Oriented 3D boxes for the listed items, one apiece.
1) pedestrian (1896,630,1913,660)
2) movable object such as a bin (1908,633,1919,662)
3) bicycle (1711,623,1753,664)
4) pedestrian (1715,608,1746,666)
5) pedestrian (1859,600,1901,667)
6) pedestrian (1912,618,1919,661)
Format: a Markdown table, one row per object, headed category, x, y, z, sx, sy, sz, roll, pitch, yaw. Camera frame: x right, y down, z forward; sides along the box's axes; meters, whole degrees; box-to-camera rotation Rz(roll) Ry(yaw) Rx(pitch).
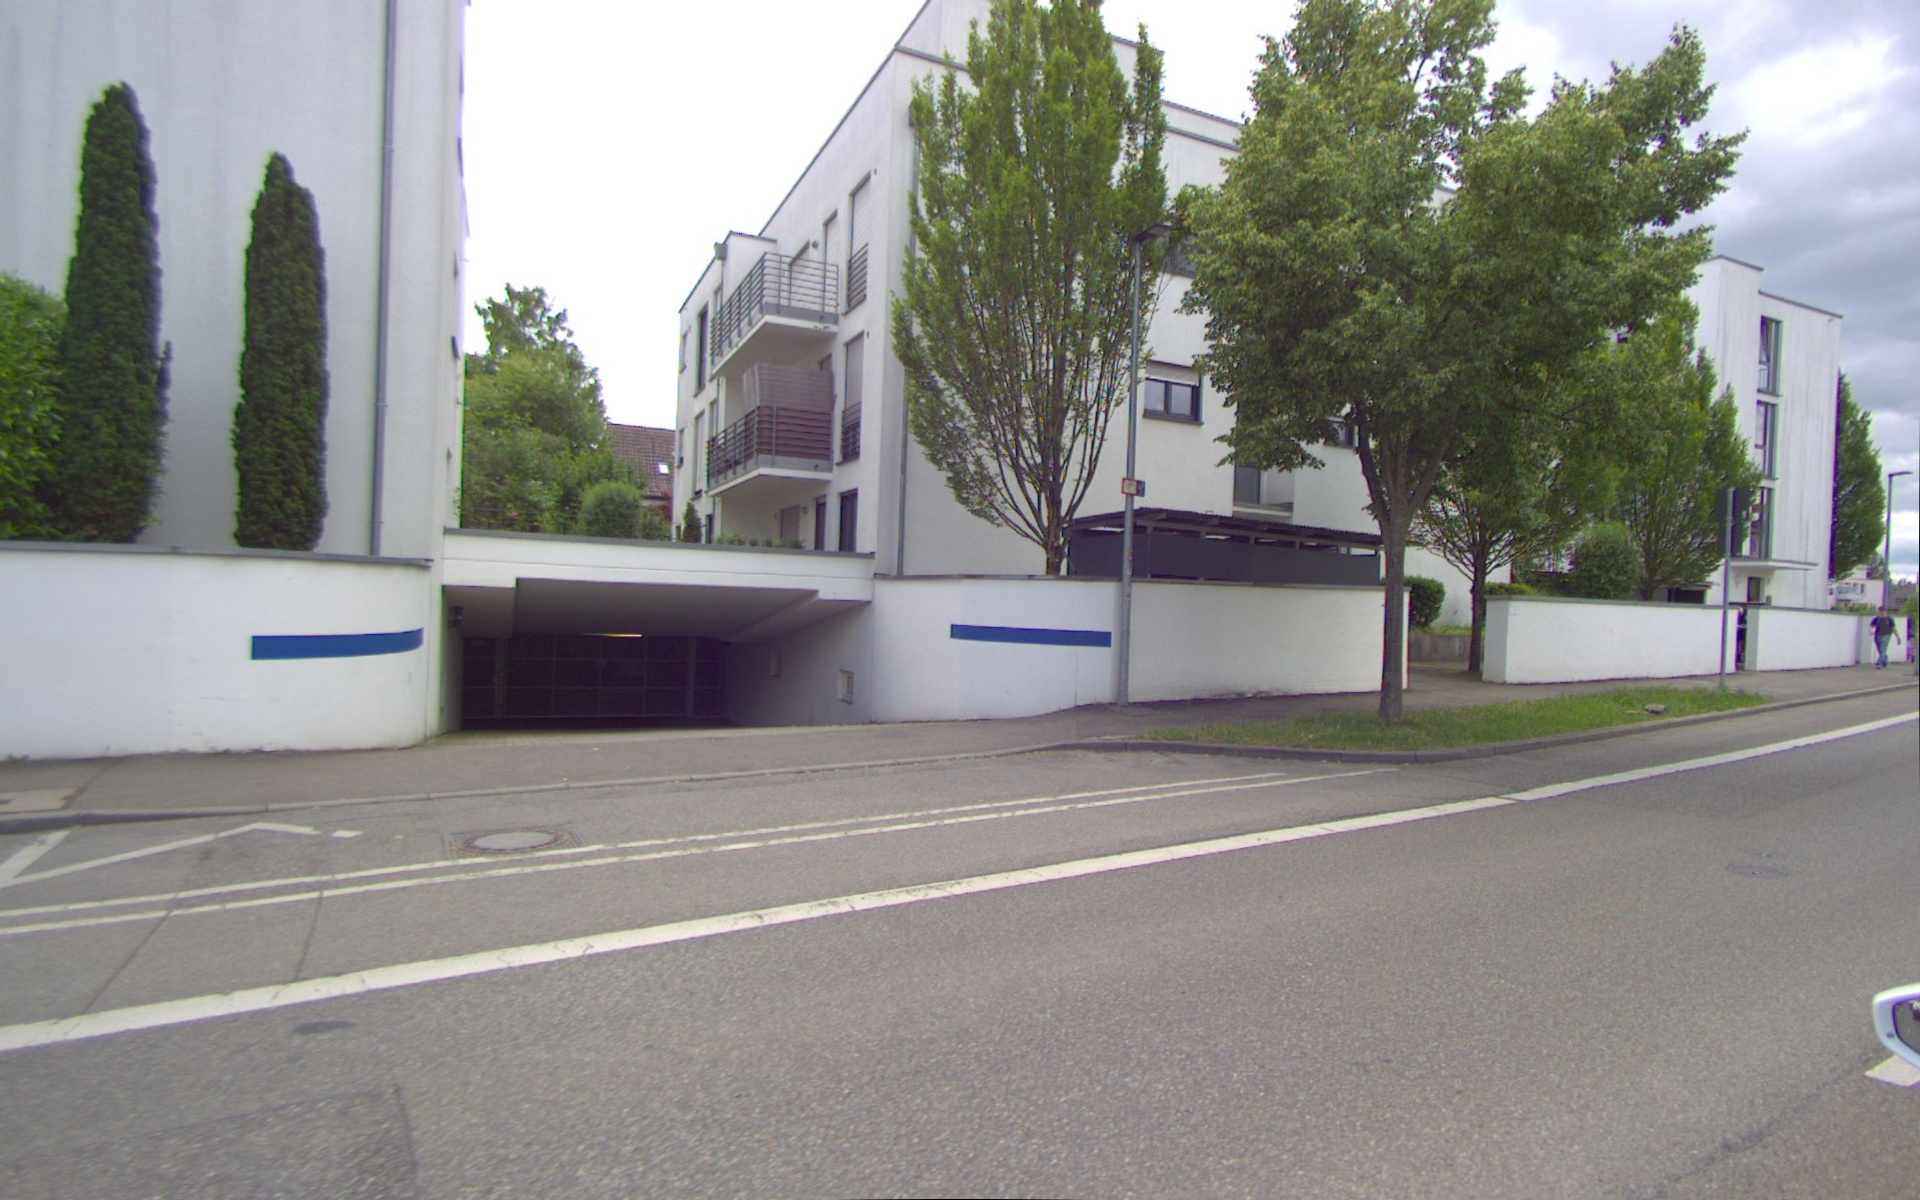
| category | x | y | z | sx | sy | sz | roll | pitch | yaw |
| --- | --- | --- | --- | --- | --- | --- | --- | --- | --- |
| pedestrian | 34.784 | 1.646 | 36.987 | 0.440 | 1.076 | 0.323 | 1 | 4 | -37 |
| movable object such as a bin | 34.506 | 1.714 | 36.031 | 0.978 | 0.973 | 0.493 | 1 | 5 | -38 |
| bicycle | 23.200 | 1.294 | 30.173 | 1.637 | 1.179 | 0.505 | 1 | -1 | -34 |
| pedestrian | 23.082 | 1.102 | 30.088 | 0.597 | 1.721 | 0.524 | 2 | 0 | -34 |
| pedestrian | 28.129 | 1.016 | 30.713 | 0.863 | 1.974 | 0.644 | 2 | 3 | -36 |
| pedestrian | 35.156 | 1.454 | 36.522 | 0.725 | 1.563 | 0.527 | 1 | 5 | -38 |
